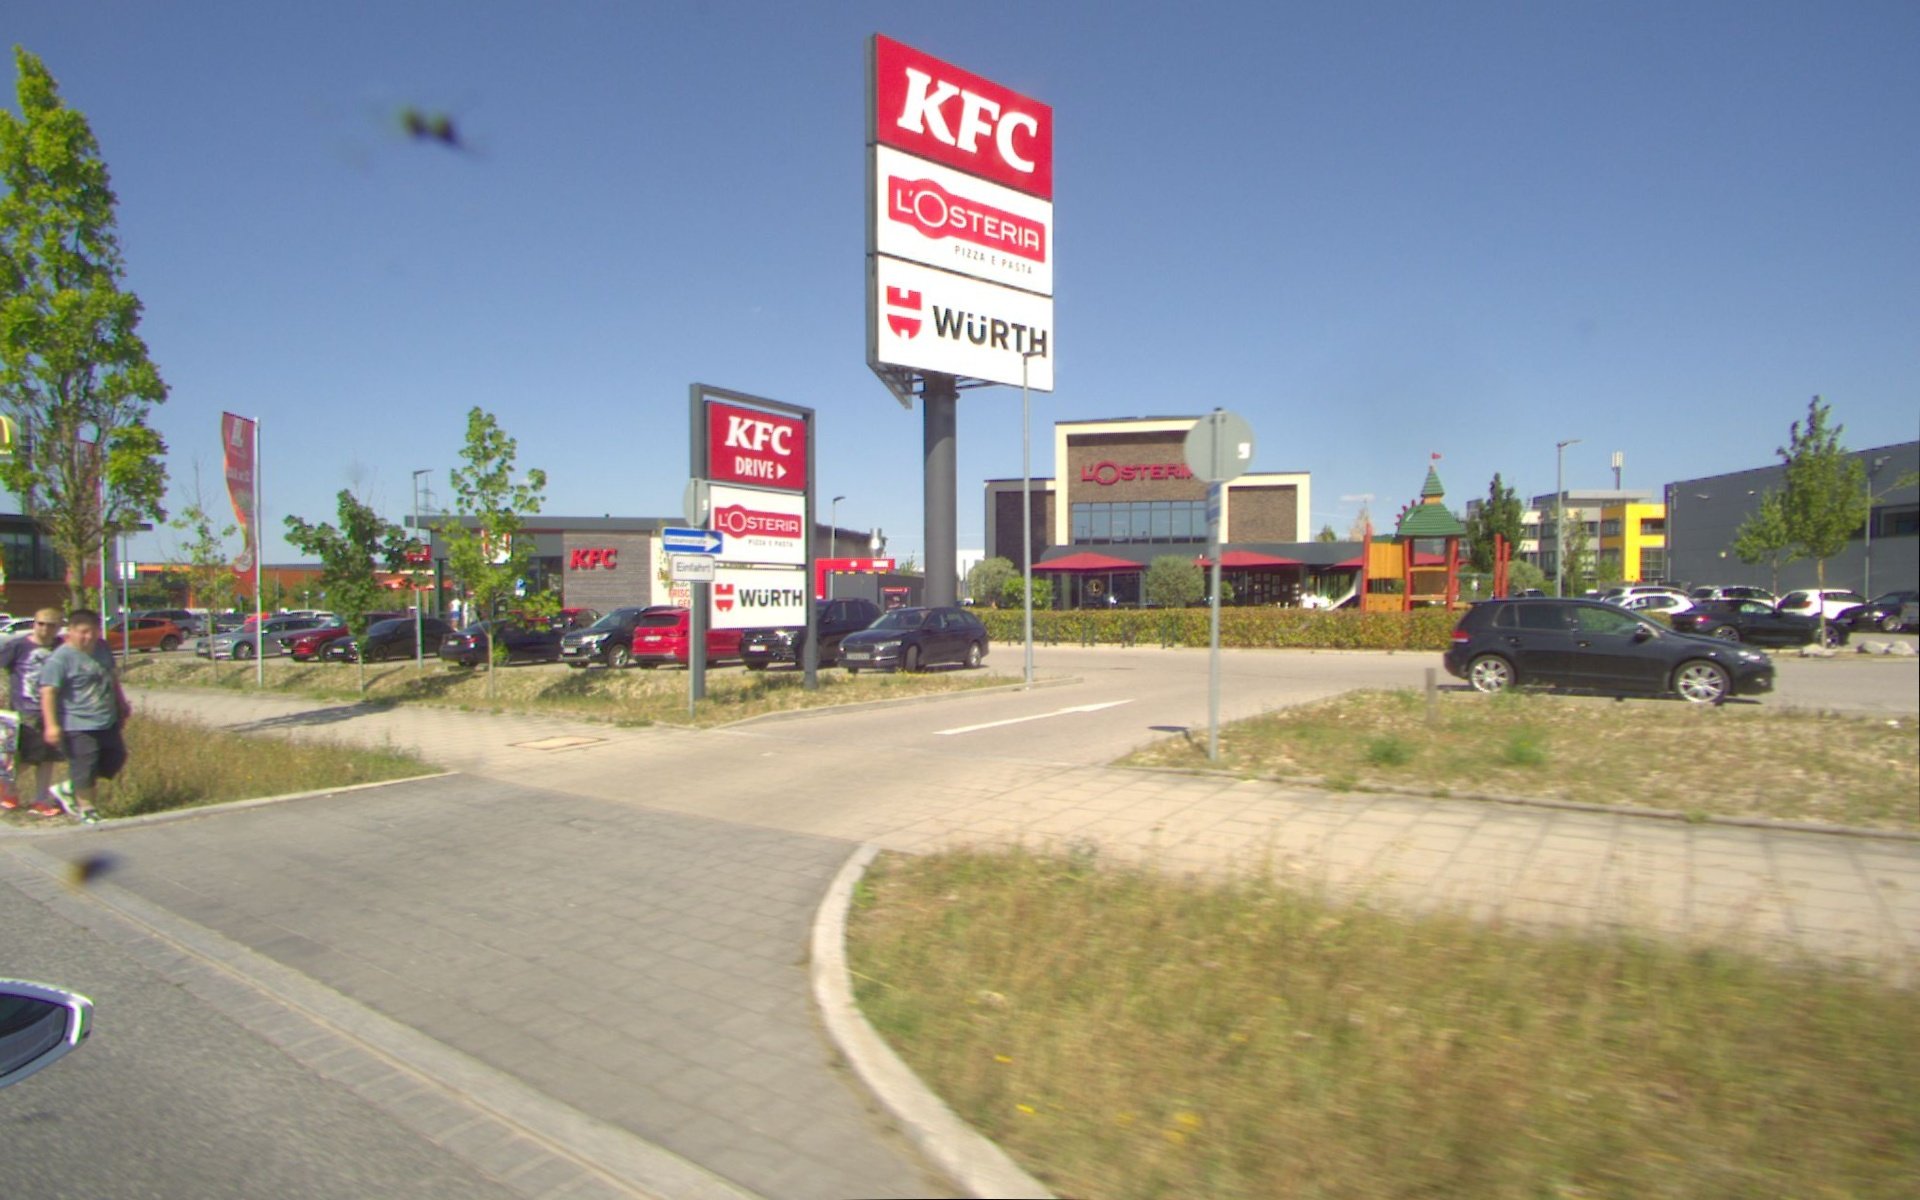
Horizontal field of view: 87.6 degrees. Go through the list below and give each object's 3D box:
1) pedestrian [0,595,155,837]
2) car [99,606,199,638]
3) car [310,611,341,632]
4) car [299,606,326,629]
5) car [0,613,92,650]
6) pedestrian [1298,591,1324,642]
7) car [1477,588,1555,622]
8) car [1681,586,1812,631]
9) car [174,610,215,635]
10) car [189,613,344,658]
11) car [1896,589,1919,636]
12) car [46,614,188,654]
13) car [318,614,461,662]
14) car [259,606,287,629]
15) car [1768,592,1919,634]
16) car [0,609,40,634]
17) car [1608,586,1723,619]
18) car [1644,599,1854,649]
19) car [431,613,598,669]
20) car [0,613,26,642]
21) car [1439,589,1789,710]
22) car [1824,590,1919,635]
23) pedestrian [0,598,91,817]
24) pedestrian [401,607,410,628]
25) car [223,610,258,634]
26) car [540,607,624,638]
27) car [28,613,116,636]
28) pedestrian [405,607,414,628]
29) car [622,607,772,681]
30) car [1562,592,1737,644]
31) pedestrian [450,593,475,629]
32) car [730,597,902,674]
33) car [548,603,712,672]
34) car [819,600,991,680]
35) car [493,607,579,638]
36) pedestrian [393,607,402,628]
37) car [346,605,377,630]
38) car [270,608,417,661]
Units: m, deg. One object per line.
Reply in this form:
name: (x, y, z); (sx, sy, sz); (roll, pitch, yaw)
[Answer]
pedestrian: (-6.593, 0.803, 7.392); (0.854, 1.649, 0.807); (0, 0, 34)
car: (-45.325, 1.194, 56.066); (1.757, 1.657, 4.166); (-1, 0, 11)
car: (-46.269, 1.528, 73.018); (1.768, 1.470, 4.142); (-1, 0, -34)
car: (-53.548, 1.439, 82.805); (1.768, 1.781, 4.142); (-1, 0, -34)
car: (-42.011, 1.398, 44.752); (1.836, 1.510, 4.530); (0, 0, 19)
pedestrian: (12.355, 0.569, 35.274); (0.806, 1.772, 0.518); (0, 0, 16)
car: (31.779, 0.279, 57.410); (2.009, 1.839, 4.923); (0, 0, 4)
car: (32.603, 0.351, 41.584); (4.029, 1.780, 1.702); (-1, 0, 2)
car: (-48.306, 1.397, 63.229); (1.768, 1.470, 4.142); (-1, 0, -34)
car: (-26.198, 1.289, 38.021); (1.837, 1.510, 4.556); (0, 1, 23)
car: (32.312, 0.383, 31.521); (4.029, 1.482, 1.702); (-1, 0, 2)
car: (-35.173, 1.366, 41.934); (1.836, 1.510, 4.209); (0, 1, 19)
car: (-19.809, 1.285, 34.993); (1.760, 1.469, 4.157); (0, 1, 21)
car: (-54.322, 1.386, 79.206); (1.768, 1.781, 4.142); (-1, 0, -34)
car: (32.570, 0.462, 36.992); (4.029, 1.482, 1.702); (-1, 0, 2)
car: (-68.542, 1.541, 72.941); (1.776, 1.724, 3.971); (-1, 0, -36)
car: (32.507, 0.124, 46.212); (4.029, 1.482, 1.702); (-1, 0, 2)
car: (20.184, 0.606, 25.737); (4.055, 1.228, 1.654); (-1, 0, 1)
car: (-13.565, 1.187, 30.720); (1.768, 1.469, 4.390); (0, 1, 37)
car: (-50.736, 1.420, 52.625); (1.768, 1.481, 4.142); (-1, 0, -34)
car: (9.477, 0.665, 14.801); (4.112, 1.560, 1.775); (-1, 0, 35)
car: (32.239, 0.421, 34.149); (4.029, 1.482, 1.702); (-1, 0, 2)
pedestrian: (-7.468, 0.814, 7.862); (0.793, 1.651, 0.799); (0, 0, 34)
pedestrian: (-34.825, 1.097, 62.847); (0.287, 1.257, 0.380); (-1, 1, 11)
car: (-47.474, 1.435, 66.132); (1.768, 1.470, 4.142); (-1, 0, -34)
car: (-19.378, 1.111, 51.562); (1.833, 1.451, 4.565); (0, 1, 12)
car: (-57.367, 1.545, 64.803); (3.944, 1.391, 1.788); (-1, 0, -32)
pedestrian: (-34.539, 1.095, 62.790); (0.287, 1.257, 0.380); (-1, 1, 11)
car: (-7.024, 1.122, 27.260); (1.760, 1.758, 4.410); (0, 1, 20)
car: (20.987, 0.539, 30.600); (4.150, 1.491, 1.702); (-1, 0, 1)
pedestrian: (-27.920, 0.615, 56.185); (0.875, 2.040, 0.915); (0, 0, 16)
car: (-3.641, 0.832, 26.332); (1.909, 1.758, 4.976); (0, 1, 28)
car: (-9.336, 0.987, 28.659); (1.764, 1.758, 4.398); (0, 1, 30)
car: (-1.135, 0.826, 22.994); (1.964, 1.587, 4.401); (0, 1, 28)
car: (-22.004, 1.127, 52.209); (1.833, 1.451, 4.565); (0, 1, 12)
pedestrian: (-34.836, 1.086, 62.049); (0.287, 1.257, 0.380); (-1, 1, 11)
car: (-45.281, 1.294, 75.720); (1.768, 1.781, 4.142); (-1, 0, -34)
car: (-21.999, 1.183, 35.917); (1.839, 1.688, 4.151); (0, 1, 27)
